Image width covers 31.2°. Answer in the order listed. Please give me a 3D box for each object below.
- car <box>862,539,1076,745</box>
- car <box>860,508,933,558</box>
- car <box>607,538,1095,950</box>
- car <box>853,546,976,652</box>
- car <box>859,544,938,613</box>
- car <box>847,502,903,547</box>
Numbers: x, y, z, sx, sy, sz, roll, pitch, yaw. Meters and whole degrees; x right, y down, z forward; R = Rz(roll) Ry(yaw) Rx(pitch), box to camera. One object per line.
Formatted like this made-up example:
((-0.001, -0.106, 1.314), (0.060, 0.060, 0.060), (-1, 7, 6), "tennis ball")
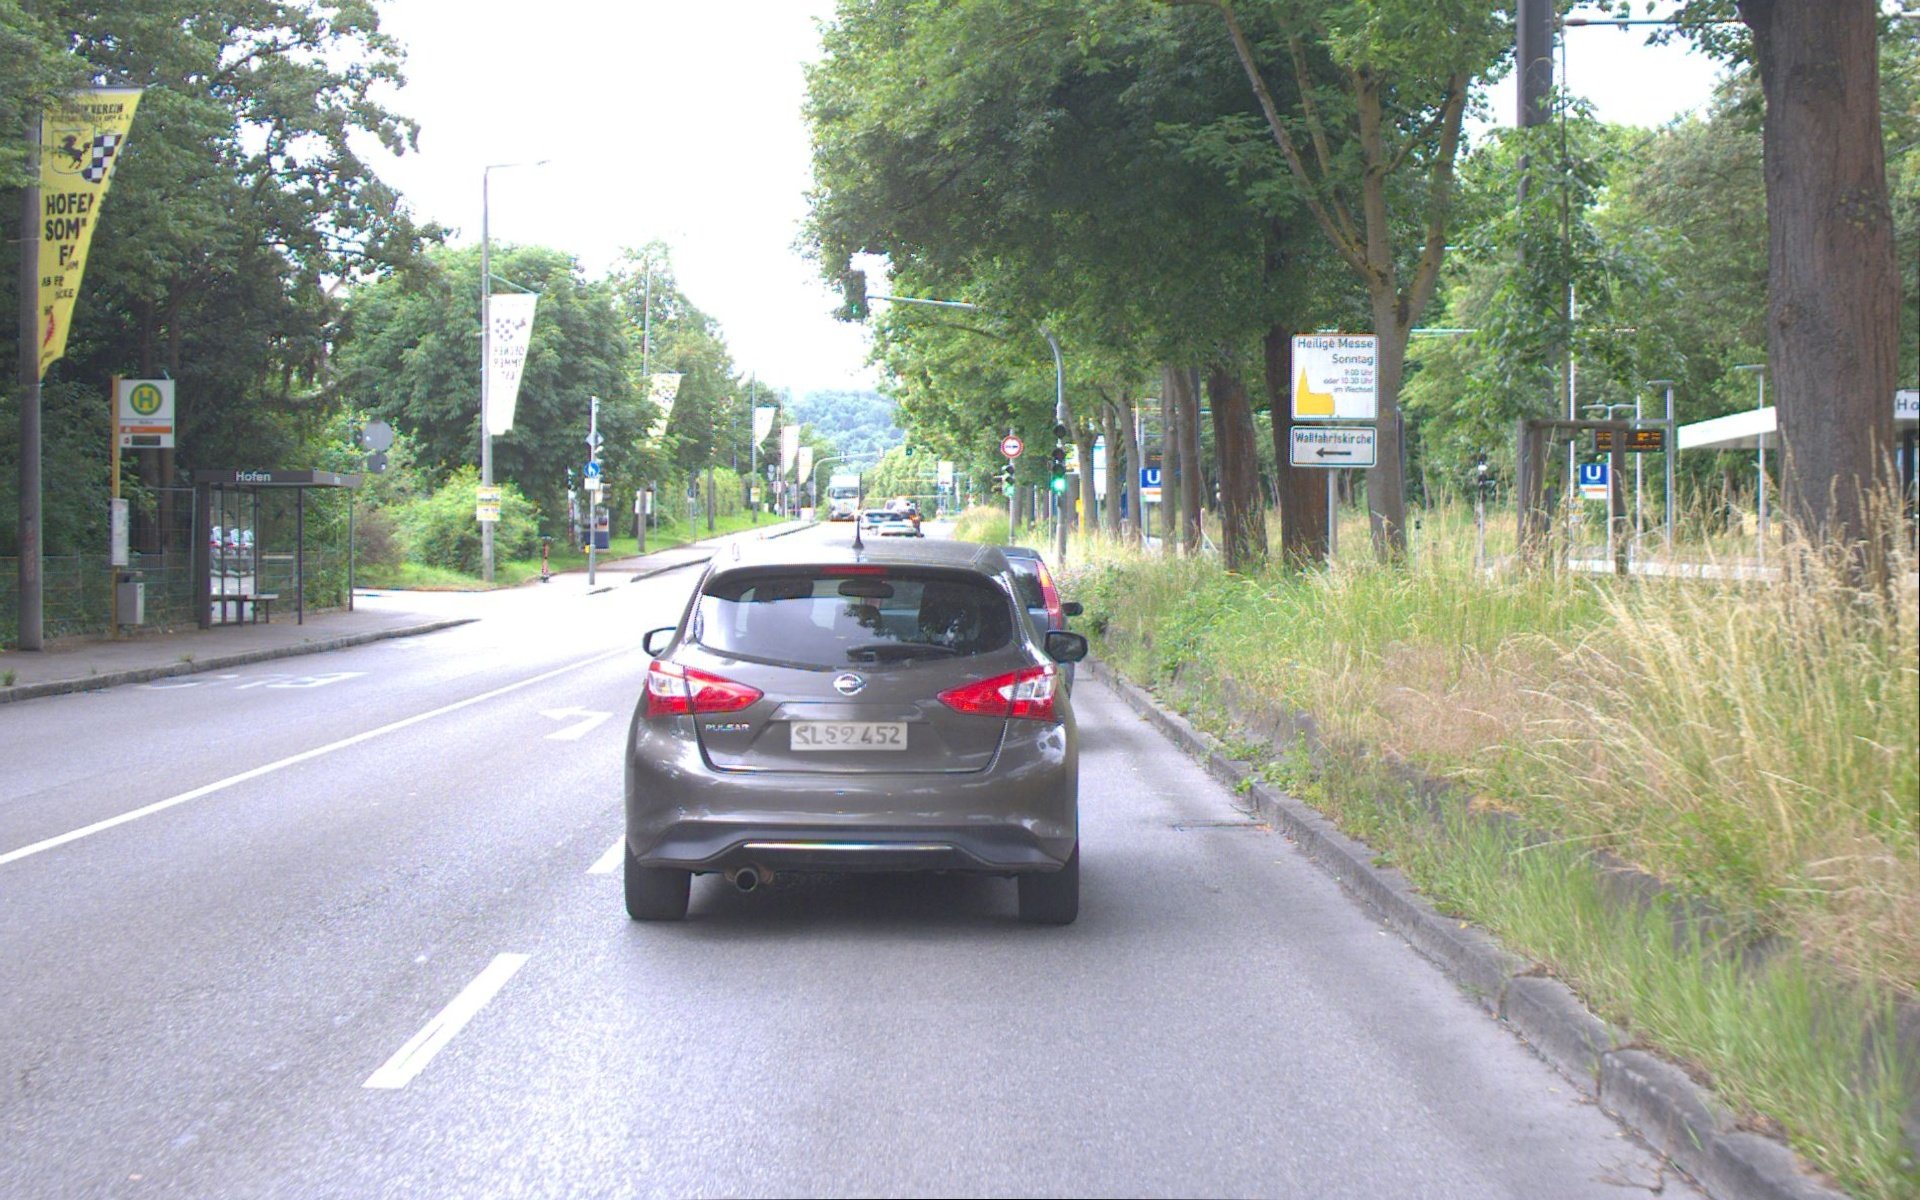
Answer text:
((0.039, 0.266, 26.093), (1.502, 1.436, 3.542), (1, 1, -1), "car")
((-1.815, -1.920, 99.313), (1.993, 1.316, 4.000), (2, 0, 0), "car")
((-0.406, 0.502, 14.487), (1.783, 1.501, 3.696), (0, 1, 0), "car")
((-0.650, -0.044, 49.361), (1.691, 1.436, 3.542), (1, 1, -1), "car")
((-1.340, -0.487, 75.451), (1.691, 1.436, 3.542), (1, 1, -1), "car")
((-3.202, -2.842, 129.800), (1.993, 1.568, 4.000), (2, 0, -1), "car")
